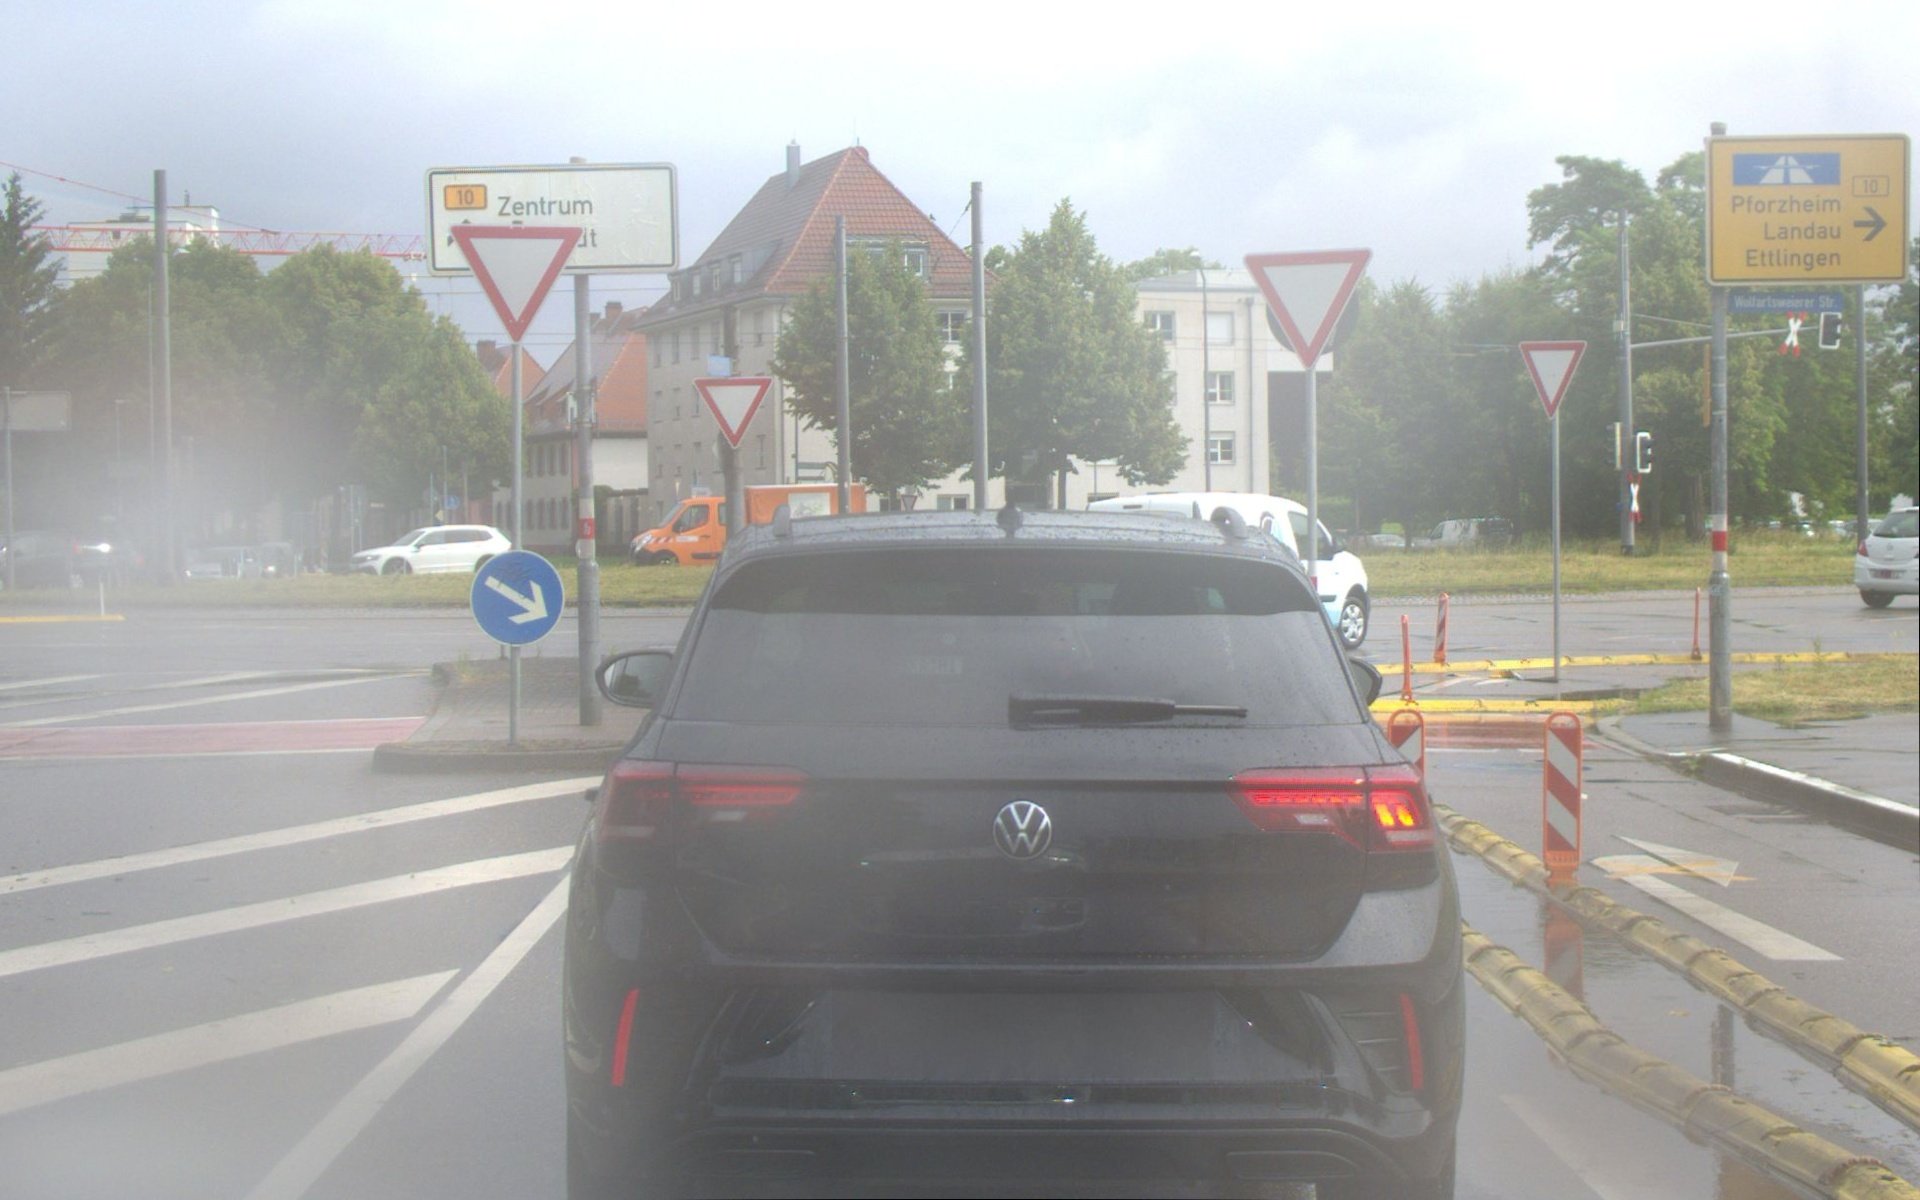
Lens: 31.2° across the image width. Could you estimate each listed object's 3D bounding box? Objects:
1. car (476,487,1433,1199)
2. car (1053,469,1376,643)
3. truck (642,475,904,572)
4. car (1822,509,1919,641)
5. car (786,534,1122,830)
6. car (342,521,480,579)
[{"bbox_3d":[-0.111,0.555,7.994,1.708,1.568,3.683,0,1,-3],"label":"car"},{"bbox_3d":[2.882,-0.515,38.034,1.867,1.803,4.397,0,2,29],"label":"car"},{"bbox_3d":[-5.263,-2.163,96.402,7.064,2.641,2.330,-1,1,-10],"label":"truck"},{"bbox_3d":[14.547,-0.396,49.103,3.986,1.824,2.000,-1,1,-27],"label":"car"},{"bbox_3d":[-0.102,0.390,19.637,1.735,1.509,3.604,0,1,-2],"label":"car"},{"bbox_3d":[-15.450,-1.420,96.711,3.494,1.579,1.567,-1,2,-28],"label":"car"}]
